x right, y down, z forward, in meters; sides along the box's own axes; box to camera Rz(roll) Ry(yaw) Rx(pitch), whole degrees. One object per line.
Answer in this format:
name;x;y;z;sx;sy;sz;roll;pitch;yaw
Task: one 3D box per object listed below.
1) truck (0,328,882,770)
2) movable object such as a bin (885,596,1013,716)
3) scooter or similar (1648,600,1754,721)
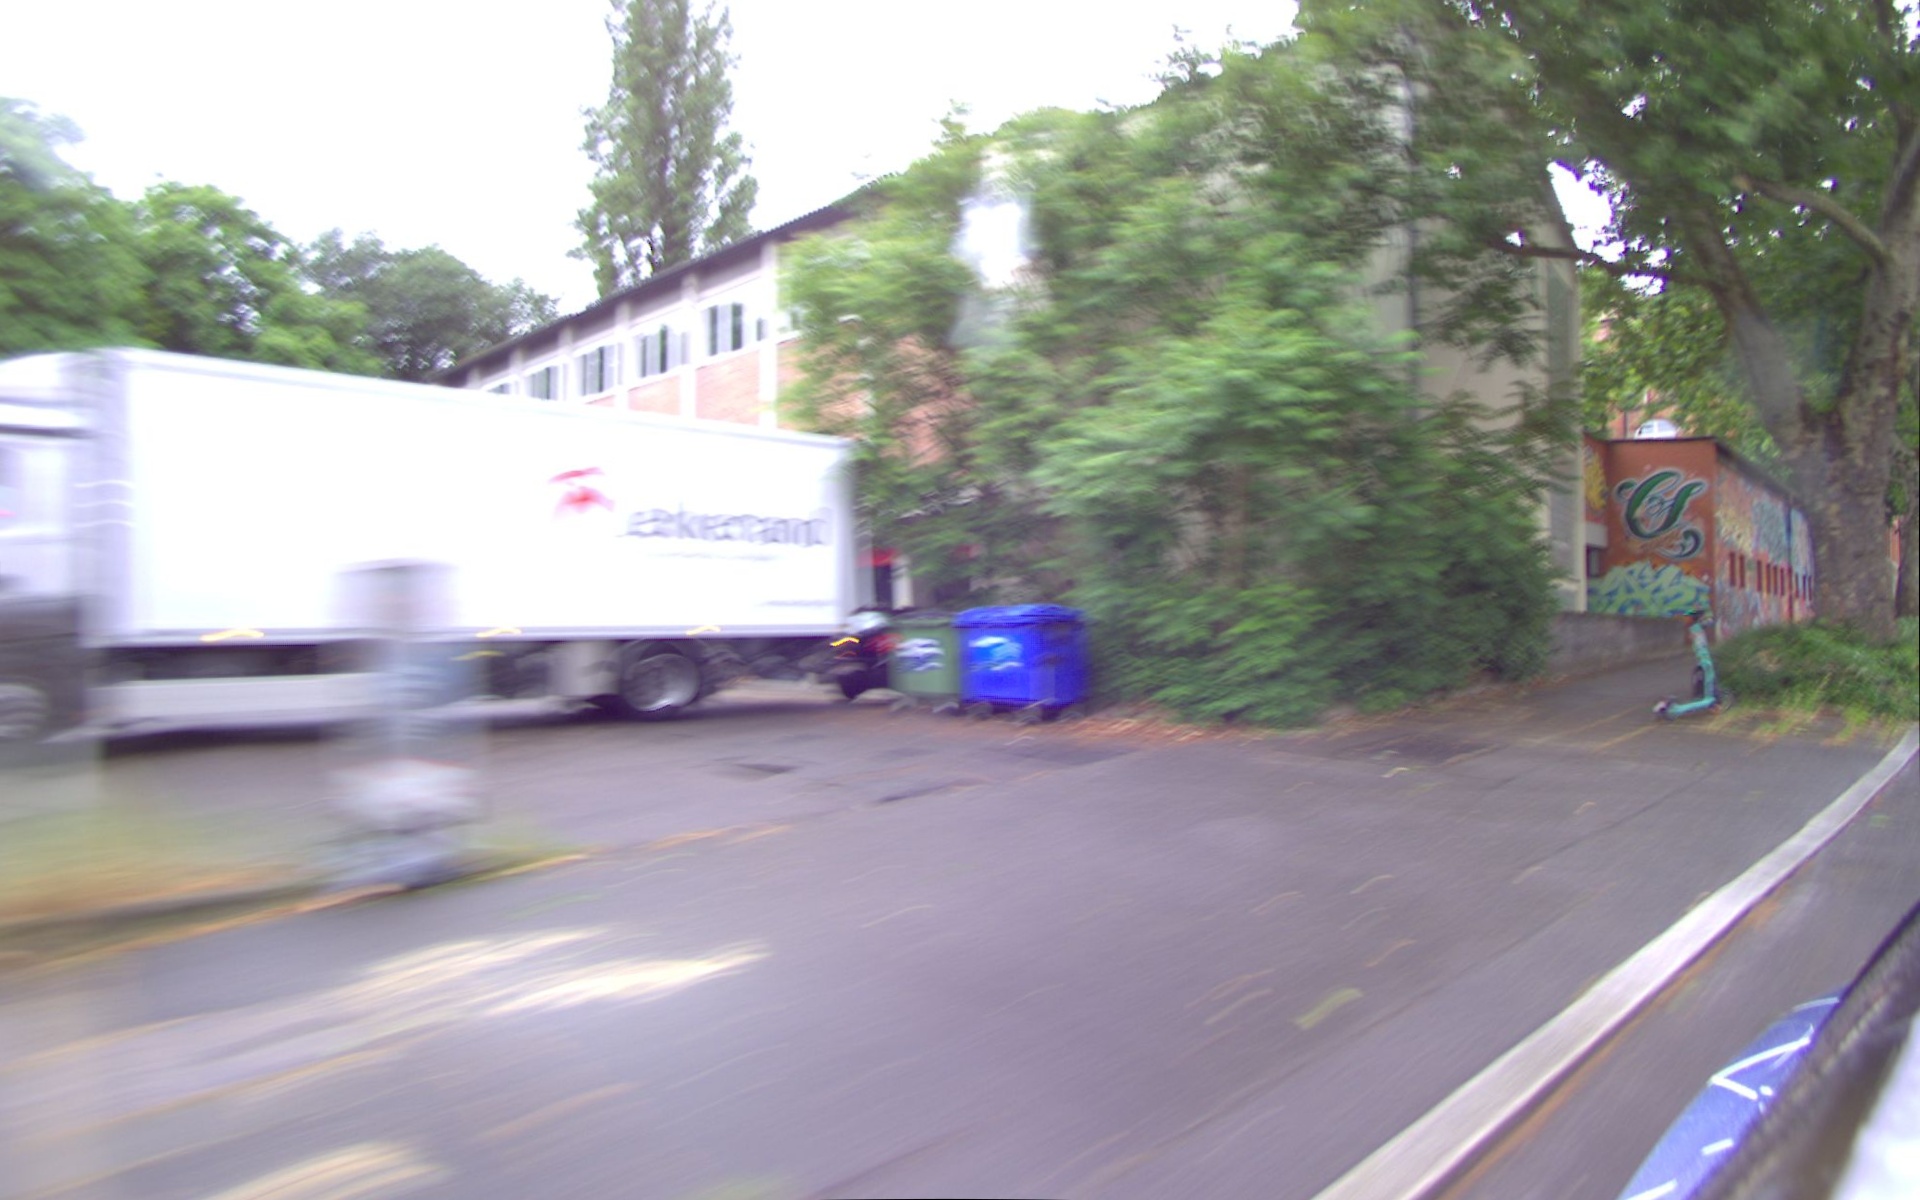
truck;-5.819;-0.477;11.554;10.068;3.614;2.660;-1;1;-38
movable object such as a bin;-0.150;0.668;12.971;1.054;1.418;1.285;0;1;-40
scooter or similar;8.238;0.644;11.240;1.336;1.207;0.401;-3;2;-29
